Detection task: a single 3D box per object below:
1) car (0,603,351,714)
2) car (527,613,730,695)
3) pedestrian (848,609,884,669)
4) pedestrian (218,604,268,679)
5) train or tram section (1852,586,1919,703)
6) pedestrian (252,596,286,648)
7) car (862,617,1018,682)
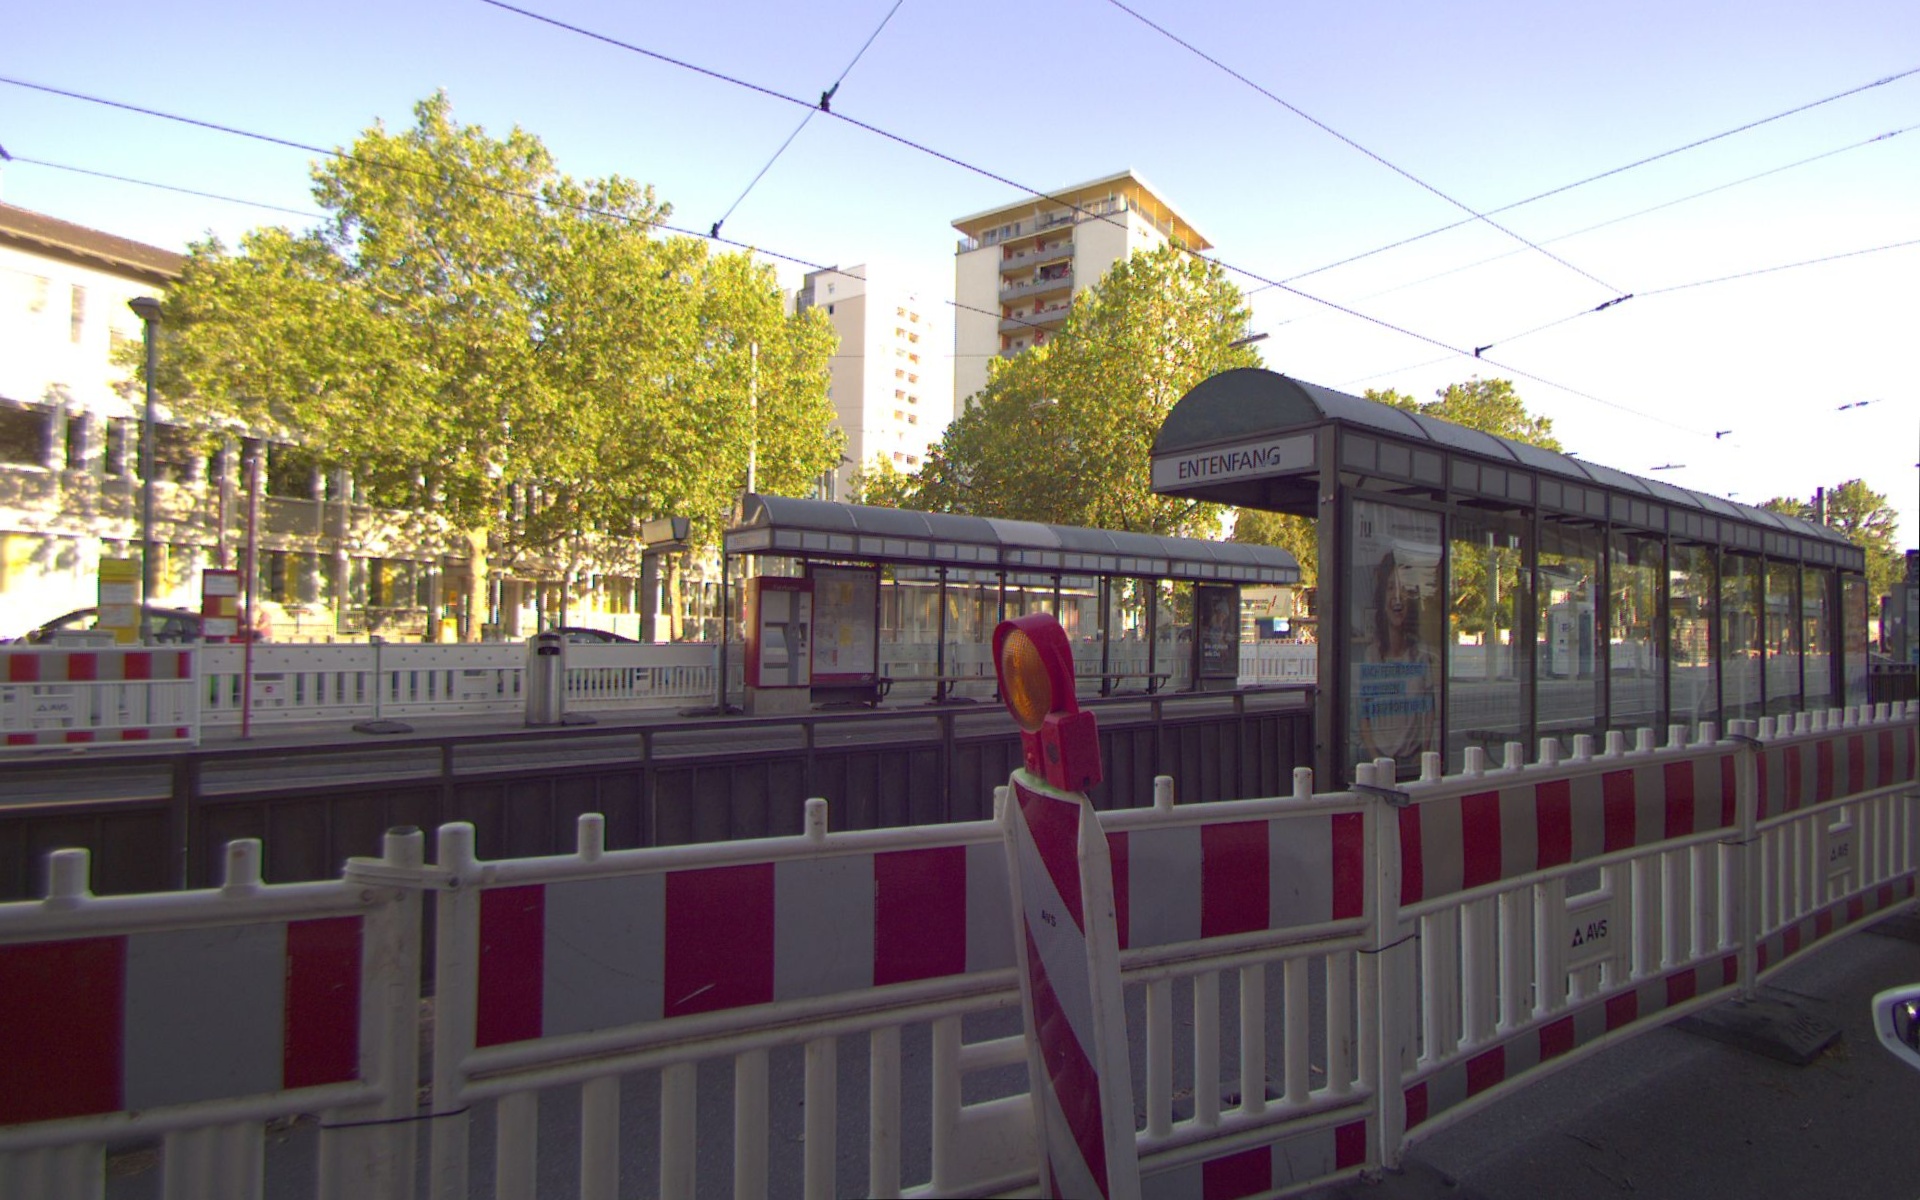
[{"bbox_3d":[-13.176,0.965,17.308,4.511,1.683,1.982,2,-2,-33],"label":"car"},{"bbox_3d":[-7.447,1.183,22.653,3.958,1.683,1.982,2,-2,-33],"label":"car"},{"bbox_3d":[-3.233,1.338,34.657,0.919,2.040,0.834,2,-2,-40],"label":"pedestrian"},{"bbox_3d":[-18.163,1.046,25.450,0.921,1.858,0.691,2,-2,-43],"label":"pedestrian"},{"bbox_3d":[33.850,1.514,34.195,11.656,3.580,2.668,2,0,-36],"label":"train or tram section"},{"bbox_3d":[-19.687,0.622,28.607,0.576,1.474,0.584,0,-1,30],"label":"pedestrian"},{"bbox_3d":[-0.524,1.348,27.890,3.959,1.683,1.901,2,-2,-34],"label":"car"}]
